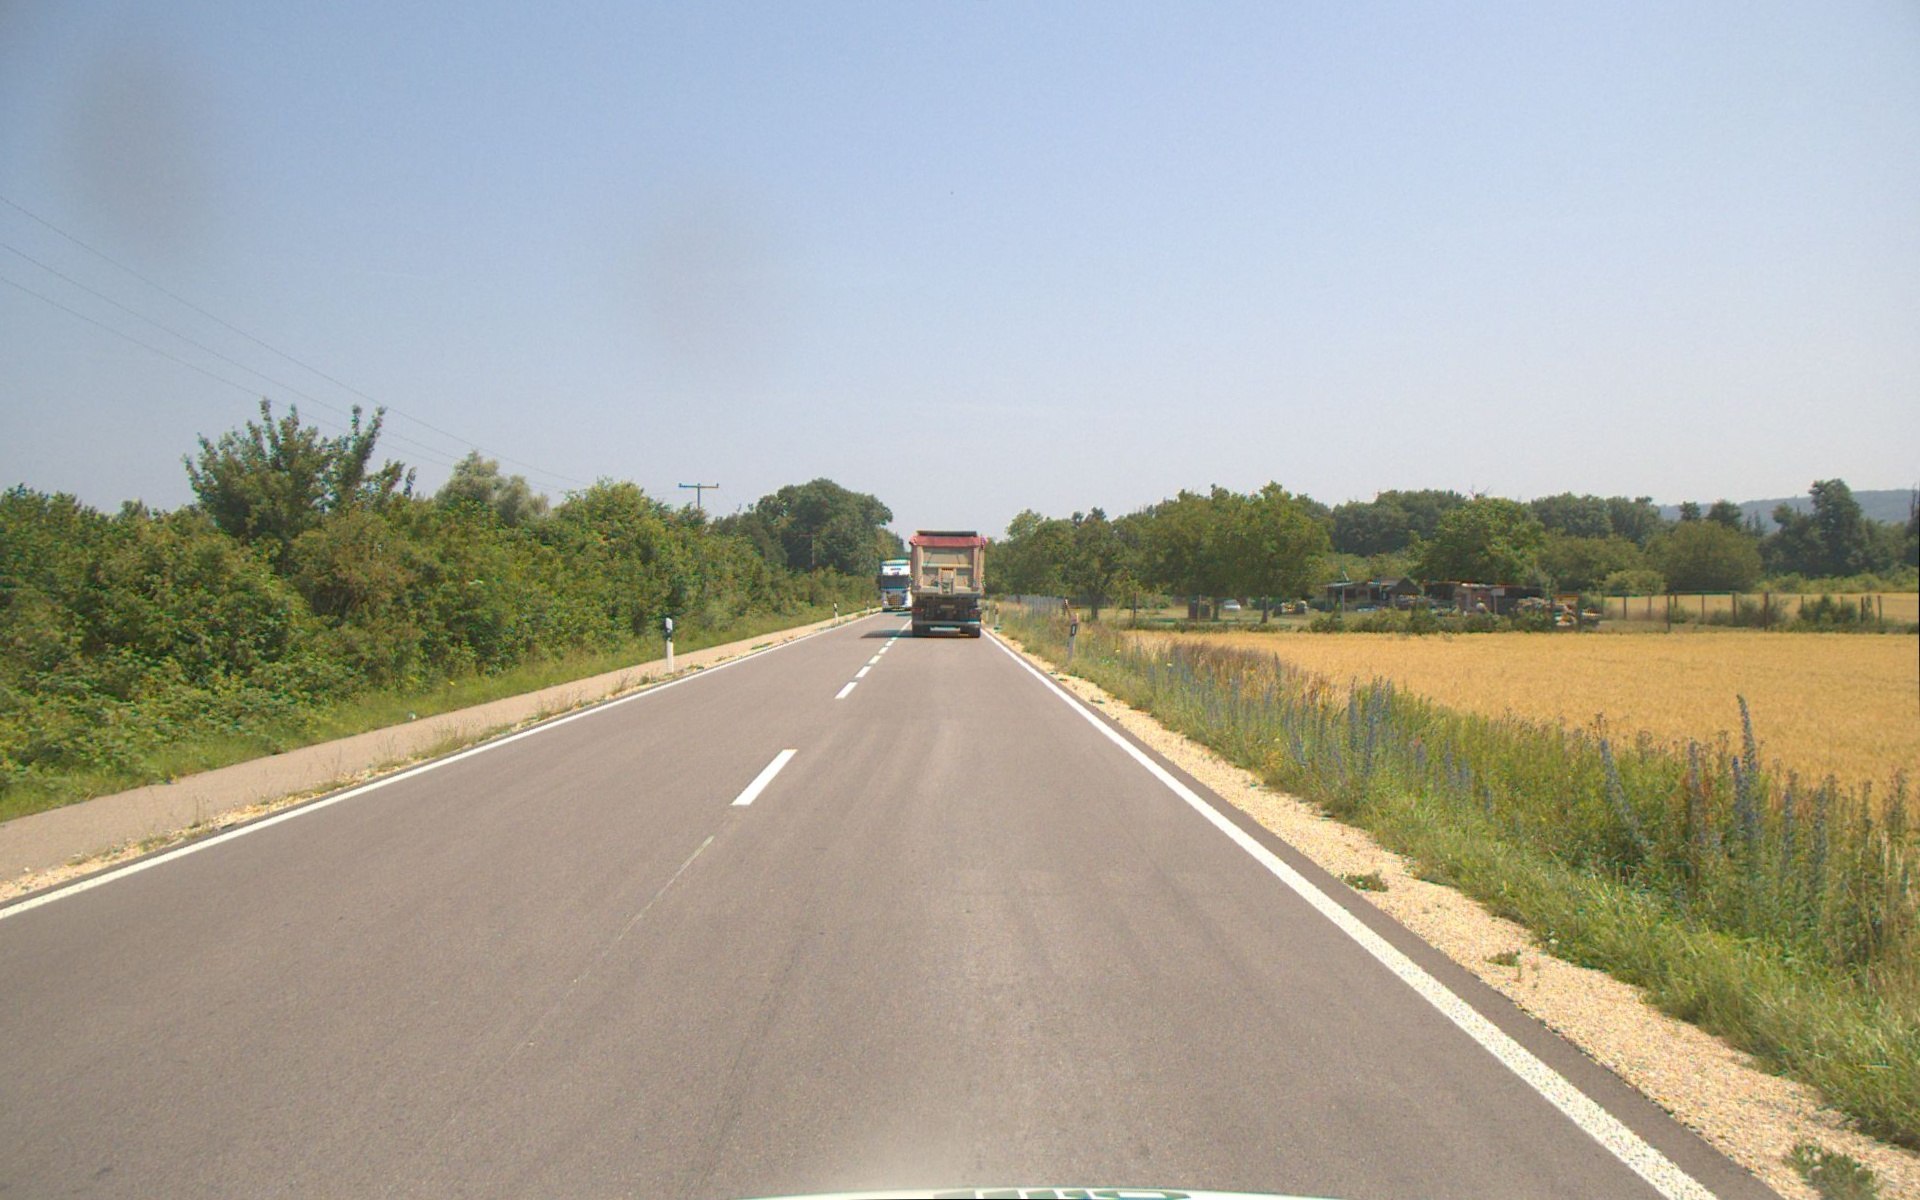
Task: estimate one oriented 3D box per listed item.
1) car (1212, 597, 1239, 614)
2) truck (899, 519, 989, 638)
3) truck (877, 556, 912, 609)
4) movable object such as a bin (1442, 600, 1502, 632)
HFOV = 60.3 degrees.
[{"bbox_3d":[24.592,0.483,153.251,1.563,1.512,3.421,0,1,-9],"label":"car"},{"bbox_3d":[-0.641,-0.728,61.986,2.948,3.942,12.206,1,0,-1],"label":"truck"},{"bbox_3d":[-5.612,-1.500,142.535,2.662,4.340,7.388,-2,0,-1],"label":"truck"},{"bbox_3d":[25.378,0.791,82.079,1.540,1.522,3.655,0,0,-5],"label":"movable object such as a bin"}]
